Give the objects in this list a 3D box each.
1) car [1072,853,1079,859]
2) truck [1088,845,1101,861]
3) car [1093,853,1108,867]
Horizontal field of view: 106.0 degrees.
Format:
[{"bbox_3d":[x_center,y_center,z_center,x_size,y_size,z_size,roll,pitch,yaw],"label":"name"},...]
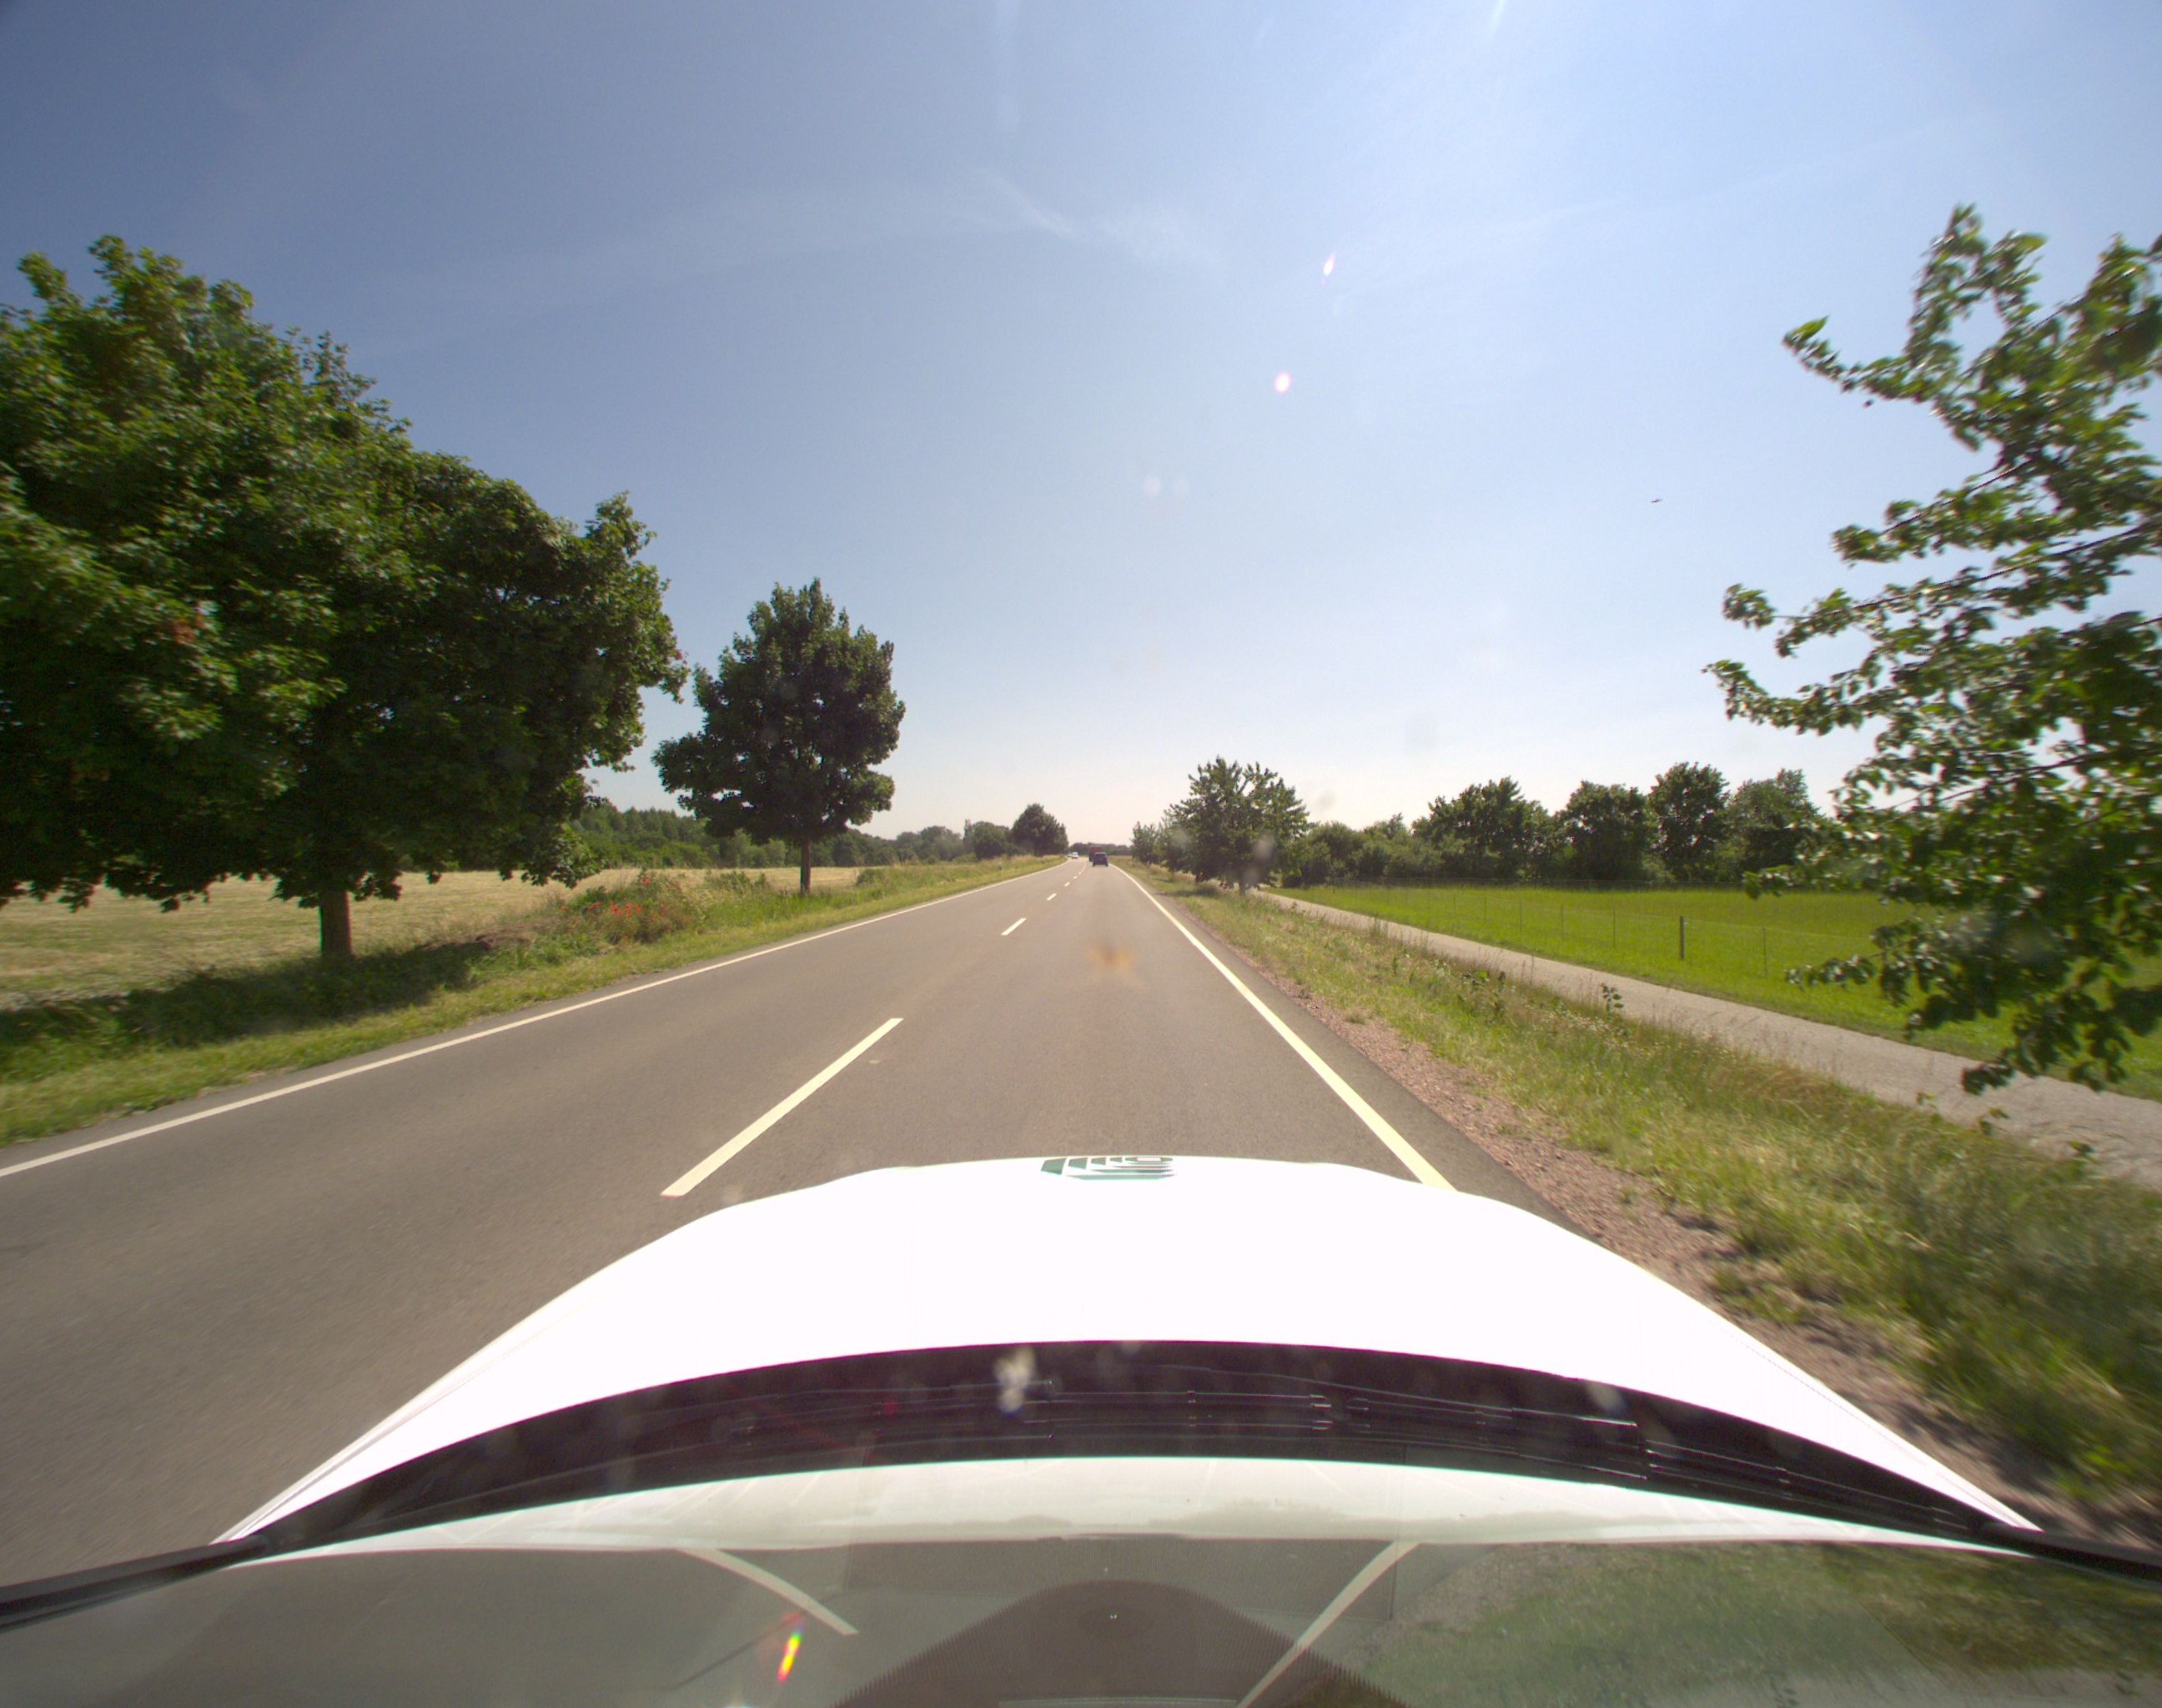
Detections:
[{"bbox_3d":[-1.519,0.599,235.251,1.780,1.728,4.305,0,0,1],"label":"car"},{"bbox_3d":[2.752,-0.107,163.824,2.364,3.140,8.743,0,0,-1],"label":"truck"},{"bbox_3d":[2.384,0.744,99.659,1.708,1.694,3.990,0,0,2],"label":"car"}]
